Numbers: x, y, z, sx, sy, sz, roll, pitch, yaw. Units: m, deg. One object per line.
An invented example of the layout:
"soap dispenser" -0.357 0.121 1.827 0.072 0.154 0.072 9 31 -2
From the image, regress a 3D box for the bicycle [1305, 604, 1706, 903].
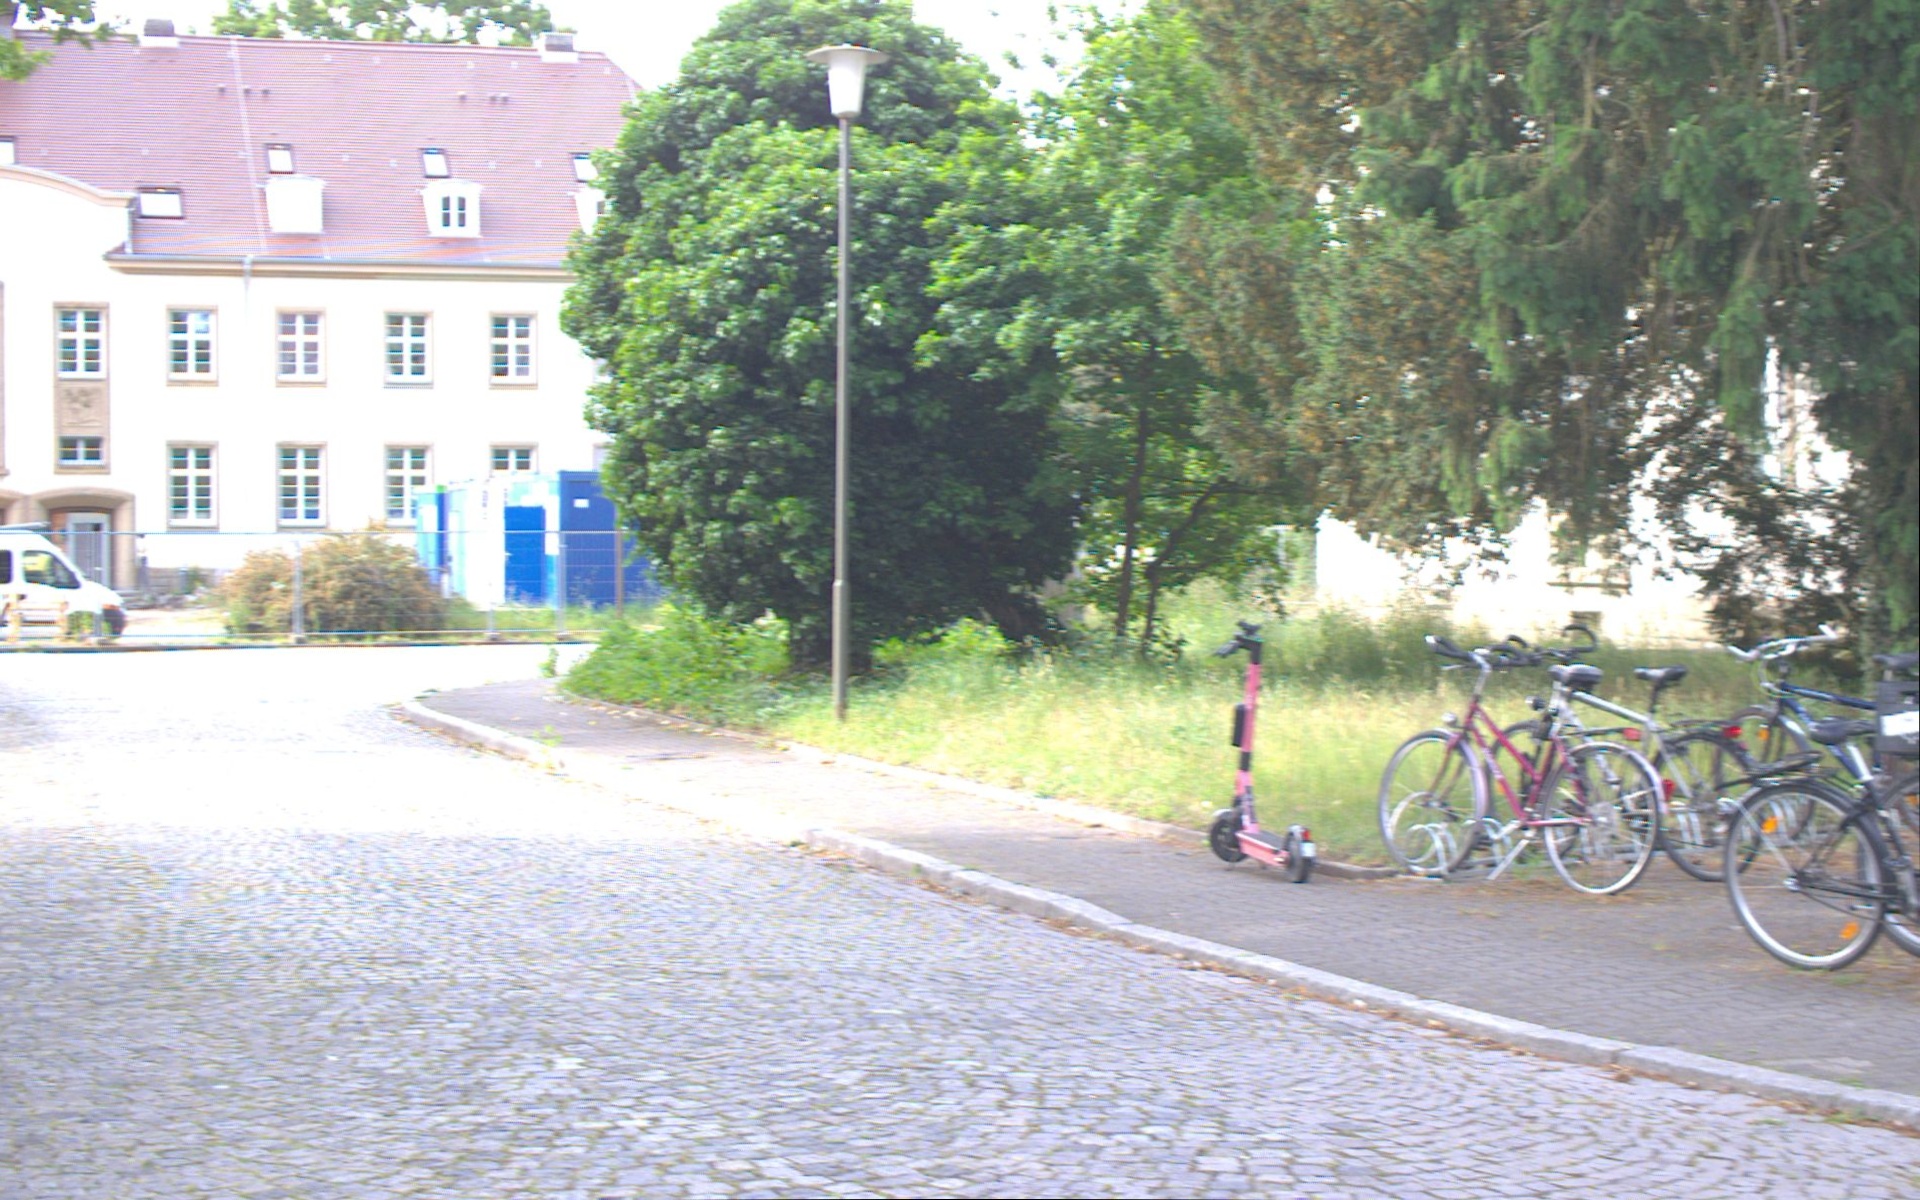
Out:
"bicycle" 2.471 0.665 15.784 0.642 1.218 1.901 -4 3 -36

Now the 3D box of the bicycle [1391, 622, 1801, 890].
"bicycle" 2.968 0.699 16.237 0.642 1.110 1.991 -4 3 -36

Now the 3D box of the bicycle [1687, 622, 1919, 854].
"bicycle" 4.453 0.667 16.978 1.628 1.070 0.538 1 3 44

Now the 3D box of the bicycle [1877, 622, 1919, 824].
"bicycle" 5.603 0.649 17.880 1.515 1.032 0.544 0 3 44

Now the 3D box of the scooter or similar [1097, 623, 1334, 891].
"scooter or similar" 1.212 0.726 16.621 0.680 1.191 1.553 -1 1 -13

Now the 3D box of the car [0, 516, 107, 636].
"car" -19.266 -0.486 65.992 5.512 2.199 2.127 0 4 -17
